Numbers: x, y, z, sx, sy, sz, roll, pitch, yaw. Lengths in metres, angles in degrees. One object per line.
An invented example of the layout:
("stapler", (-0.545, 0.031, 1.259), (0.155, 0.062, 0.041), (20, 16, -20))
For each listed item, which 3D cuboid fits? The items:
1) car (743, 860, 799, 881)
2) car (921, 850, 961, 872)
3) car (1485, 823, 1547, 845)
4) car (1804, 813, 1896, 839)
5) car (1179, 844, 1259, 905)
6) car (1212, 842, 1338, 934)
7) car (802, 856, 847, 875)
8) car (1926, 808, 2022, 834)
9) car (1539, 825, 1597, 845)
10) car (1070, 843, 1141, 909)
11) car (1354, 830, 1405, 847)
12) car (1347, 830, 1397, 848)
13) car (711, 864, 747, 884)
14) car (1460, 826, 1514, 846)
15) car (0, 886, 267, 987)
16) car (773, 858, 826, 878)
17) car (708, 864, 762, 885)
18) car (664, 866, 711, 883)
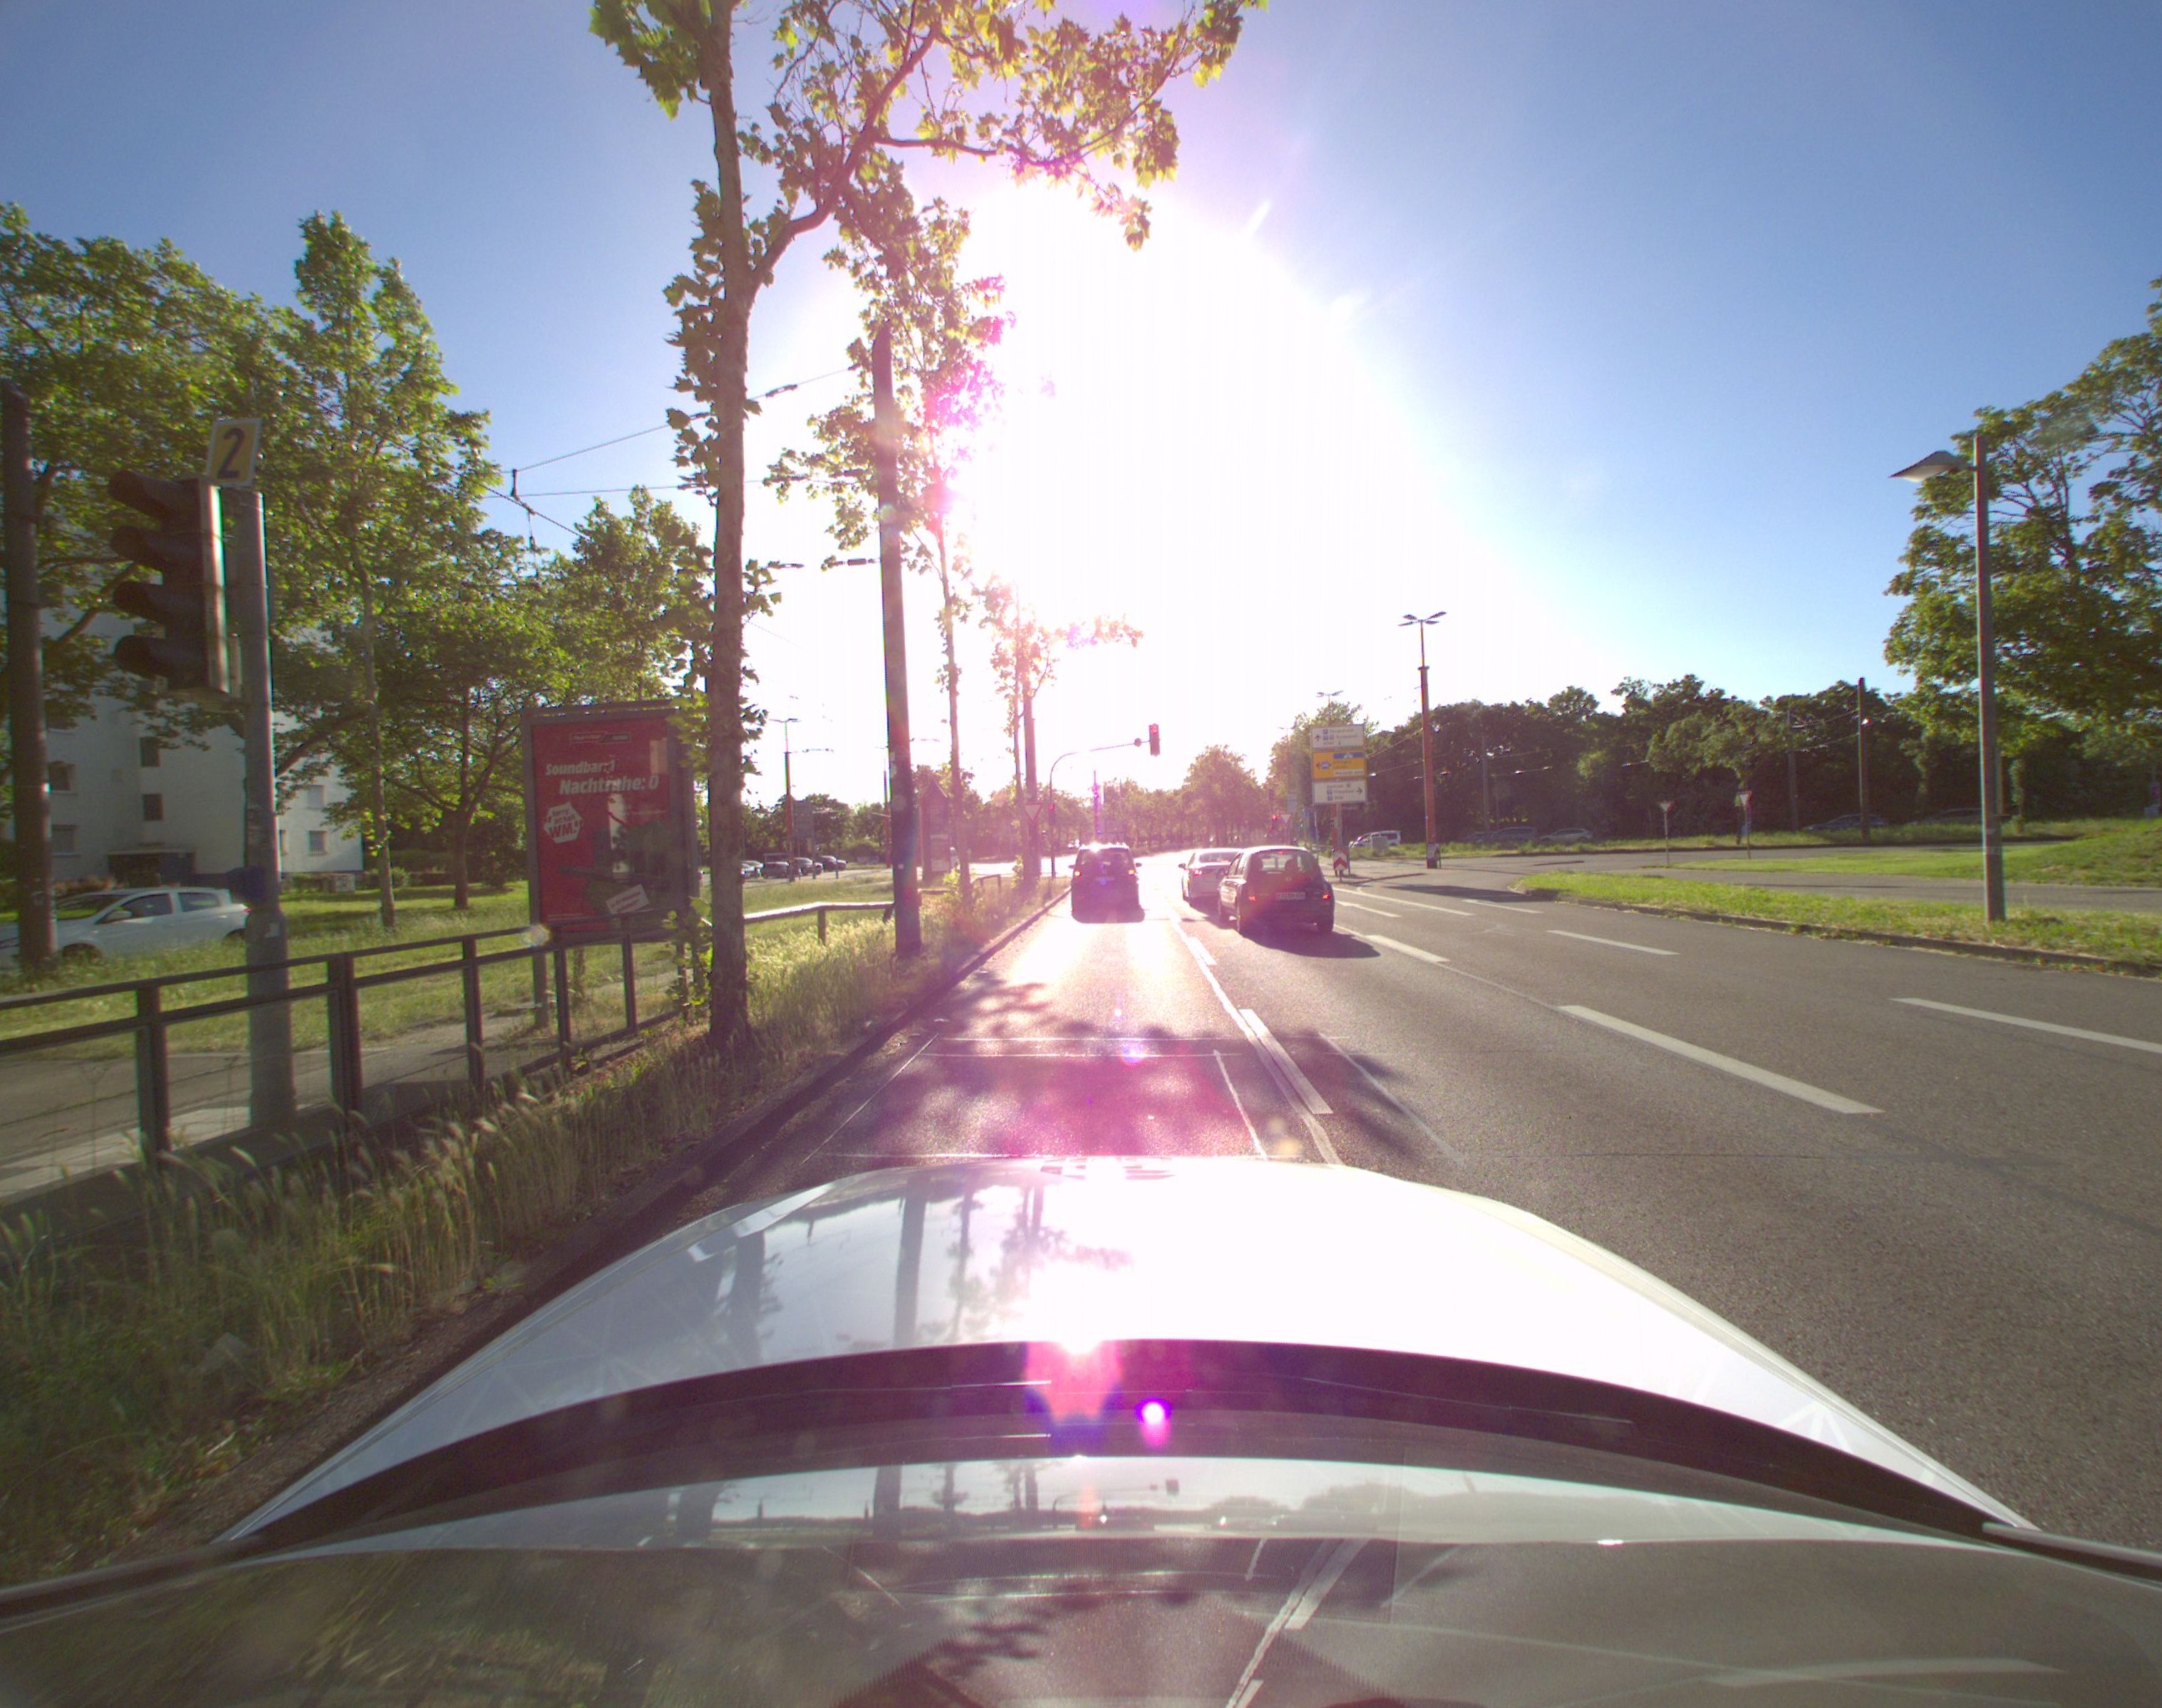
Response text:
("car", (-28.204, 1.521, 74.071), (4.447, 1.610, 1.911), (-3, 2, 21))
("car", (-11.658, 0.545, 68.163), (1.812, 1.780, 4.579), (-1, 0, 9))
("car", (34.718, -1.579, 65.120), (4.310, 1.559, 1.883), (-1, 0, 27))
("car", (52.436, -1.896, 55.632), (4.220, 1.627, 1.941), (-1, 0, 29))
("car", (3.627, 0.502, 22.006), (1.671, 1.475, 4.135), (-1, 0, 4))
("car", (3.550, 0.546, 15.447), (1.633, 1.494, 3.505), (-1, 1, 2))
("car", (-26.502, 1.155, 84.072), (3.953, 1.620, 1.911), (-3, 2, 21))
("car", (60.355, -2.218, 55.128), (3.949, 1.528, 1.872), (-1, 0, 29))
("car", (39.385, -1.551, 65.962), (3.949, 1.495, 1.872), (-1, 0, 29))
("car", (0.647, 0.532, 21.563), (1.704, 1.603, 3.351), (-1, 0, 2))
("car", (25.712, -1.320, 70.152), (3.949, 1.338, 1.739), (-1, 0, 28))
("car", (26.250, -1.355, 73.498), (3.949, 1.476, 1.800), (-1, 0, 28))
("car", (-27.969, 1.561, 64.579), (1.907, 1.543, 4.454), (-1, 0, -33))
("car", (34.335, -1.493, 68.882), (3.949, 1.561, 1.911), (-1, 0, 29))
("car", (-17.478, 1.388, 14.742), (1.625, 1.449, 3.721), (-1, 0, 2))
("car", (-26.709, 1.322, 77.254), (4.447, 1.610, 1.911), (-3, 2, 21))
("car", (-32.630, 1.924, 76.786), (4.447, 1.610, 1.910), (-3, 2, 21))
("car", (-38.643, 2.008, 80.036), (4.000, 1.436, 1.825), (-3, 2, 21))
